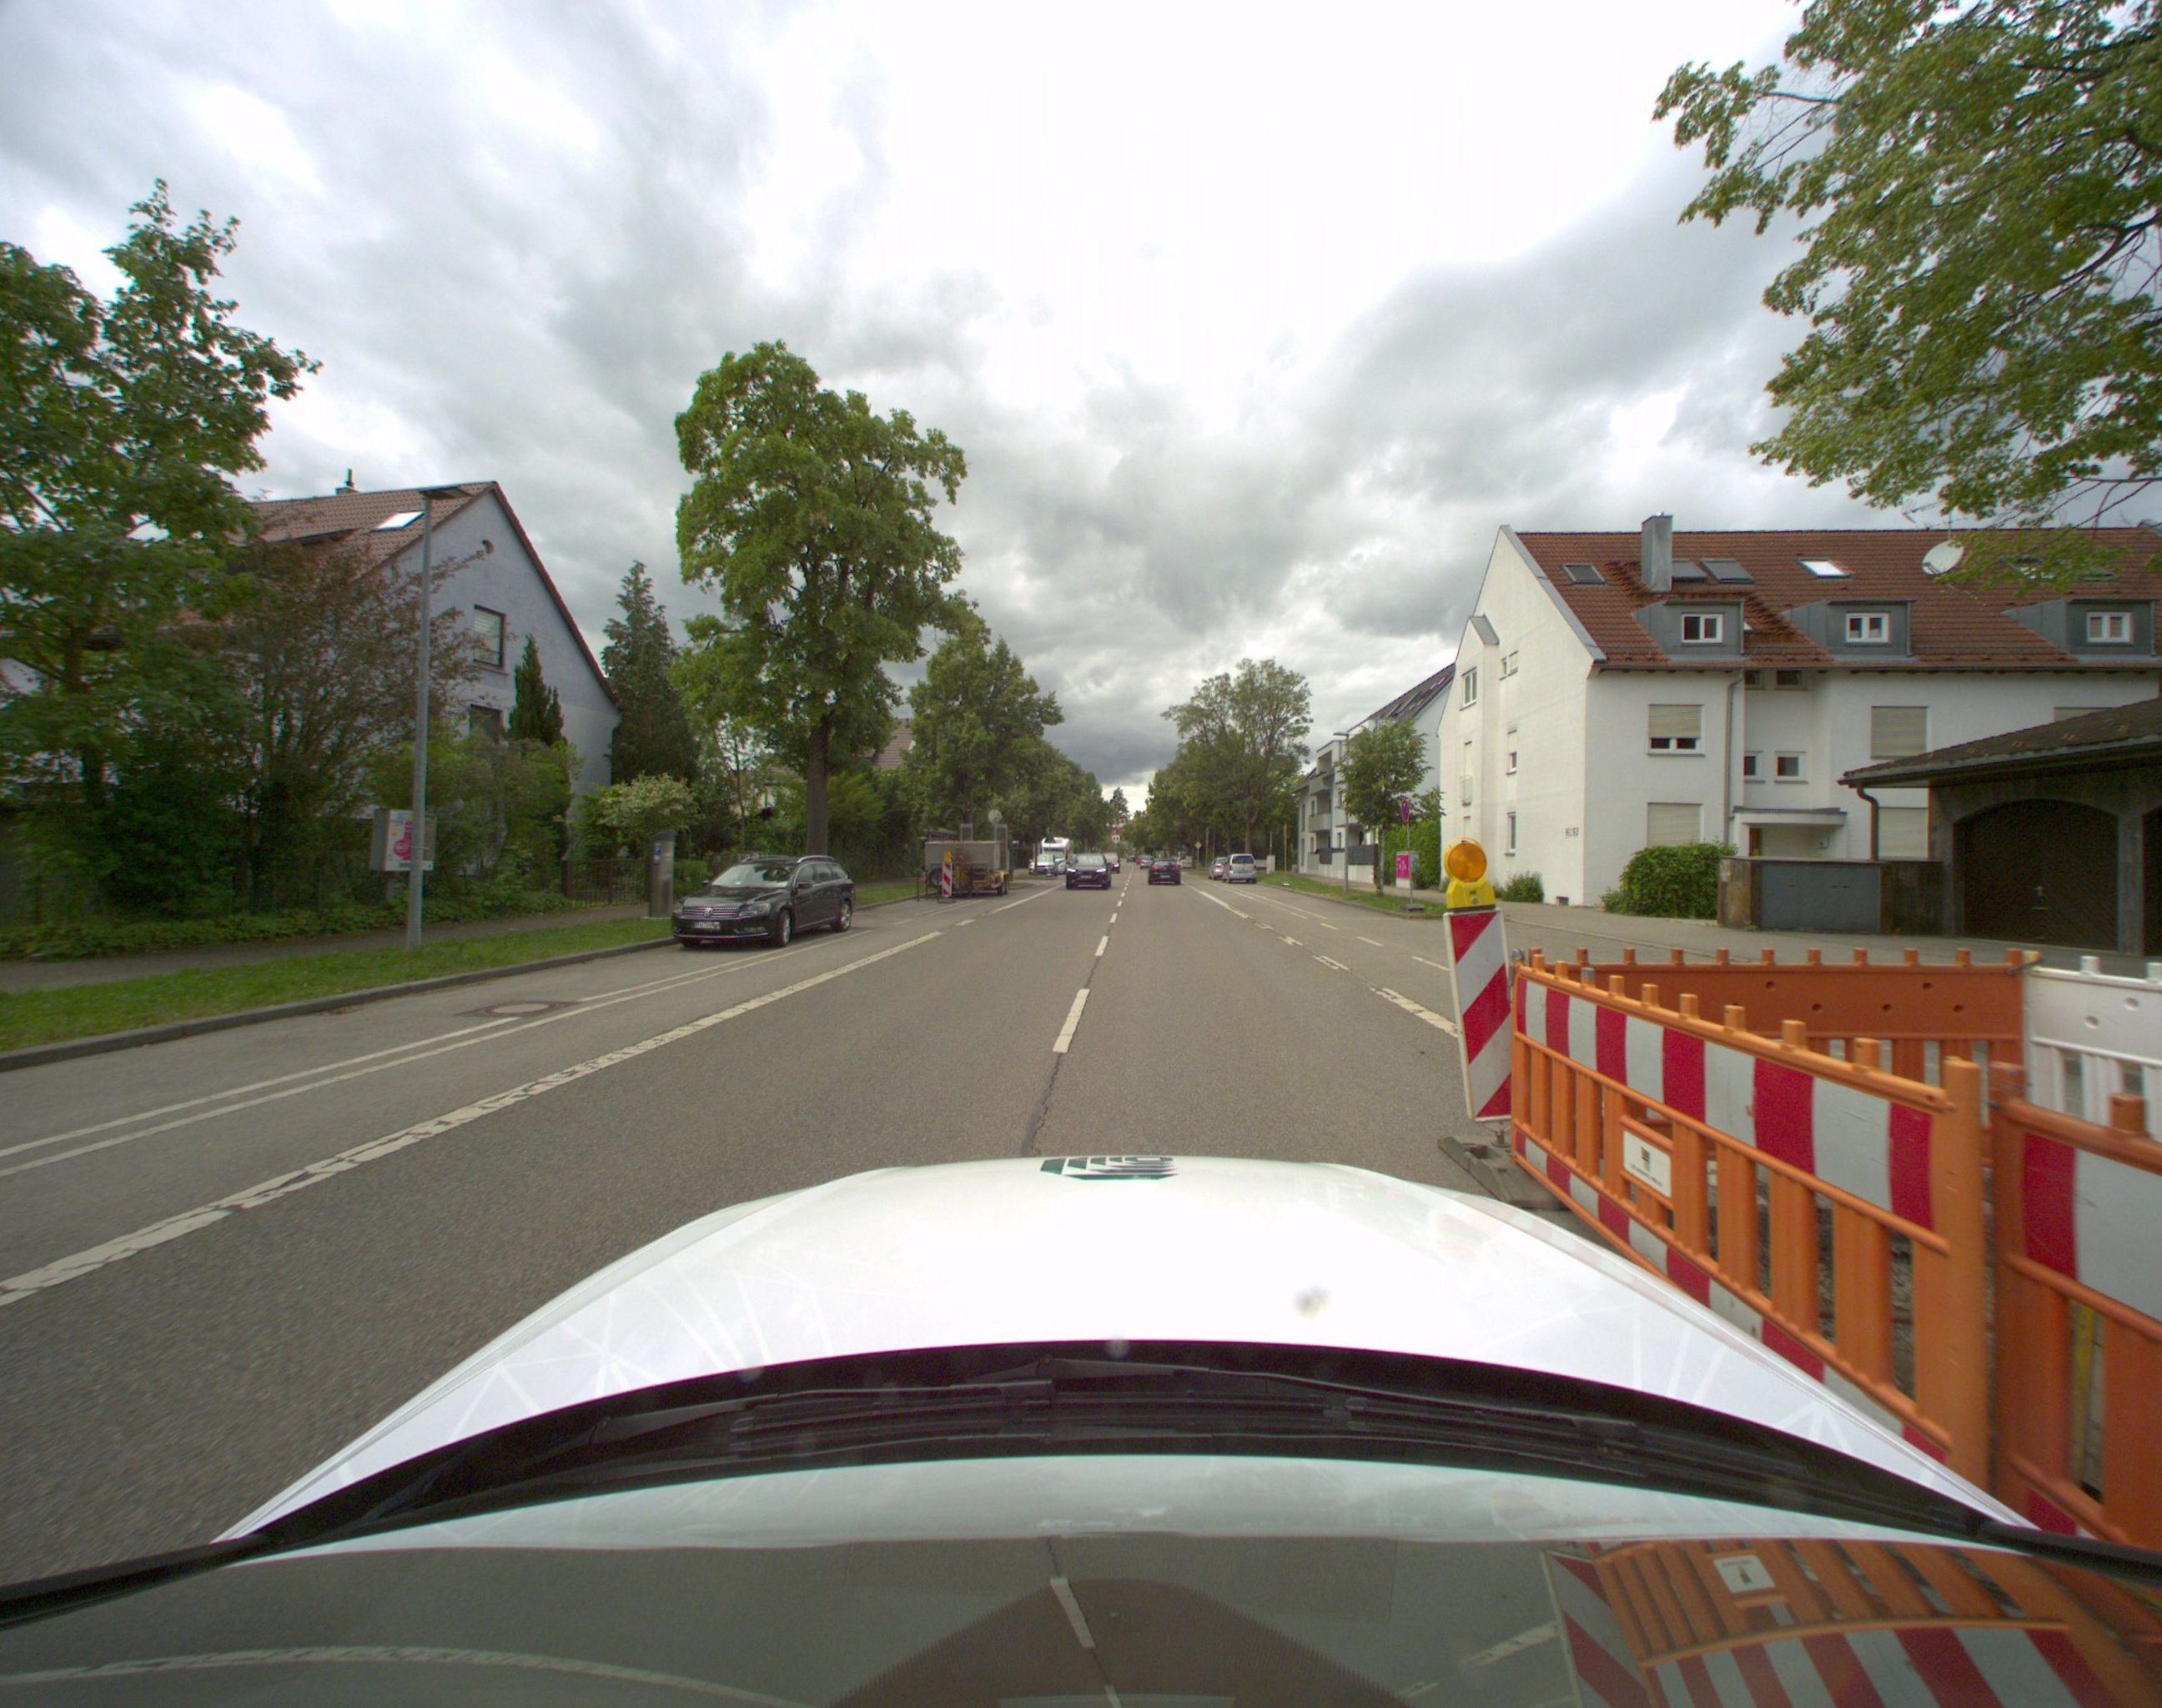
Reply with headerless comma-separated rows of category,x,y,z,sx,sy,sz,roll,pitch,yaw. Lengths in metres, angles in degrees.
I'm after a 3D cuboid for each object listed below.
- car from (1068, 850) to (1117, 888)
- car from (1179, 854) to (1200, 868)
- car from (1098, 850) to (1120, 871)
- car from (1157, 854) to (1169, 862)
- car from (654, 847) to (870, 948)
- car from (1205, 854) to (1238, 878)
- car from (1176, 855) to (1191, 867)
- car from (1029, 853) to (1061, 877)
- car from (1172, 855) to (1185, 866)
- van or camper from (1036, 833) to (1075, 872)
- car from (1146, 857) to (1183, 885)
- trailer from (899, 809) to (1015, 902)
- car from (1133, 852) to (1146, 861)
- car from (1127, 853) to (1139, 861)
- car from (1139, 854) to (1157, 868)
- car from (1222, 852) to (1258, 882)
car,0.619,0.699,38.873,1.984,1.668,4.596,-1,0,5
car,12.000,0.766,90.615,2.012,1.443,5.031,1,0,4
car,2.488,0.578,71.905,1.752,1.803,4.774,0,0,4
car,14.648,0.696,145.921,1.678,1.432,4.042,0,0,-1
car,-5.625,0.751,15.128,1.852,1.553,4.624,1,-2,4
car,9.103,0.769,52.889,1.680,1.493,4.231,0,0,3
car,12.449,0.862,99.018,1.609,1.460,3.661,0,0,4
car,-2.557,0.758,58.629,1.714,1.600,4.277,0,0,4
car,13.222,0.905,110.901,1.630,1.420,4.006,0,0,5
van or camper,-2.014,-0.106,67.475,2.424,3.009,7.701,0,0,4
car,4.546,0.906,44.754,1.776,1.449,3.559,0,0,2
trailer,-4.293,0.082,29.943,2.662,2.941,7.481,1,-1,3
car,9.360,0.405,129.888,1.986,1.530,4.002,0,0,2
car,10.402,0.528,163.348,1.988,1.508,3.998,1,-1,-1
car,7.670,0.846,93.584,1.984,1.558,4.005,0,-1,4
car,9.156,0.725,47.093,1.625,1.665,3.652,0,0,4
